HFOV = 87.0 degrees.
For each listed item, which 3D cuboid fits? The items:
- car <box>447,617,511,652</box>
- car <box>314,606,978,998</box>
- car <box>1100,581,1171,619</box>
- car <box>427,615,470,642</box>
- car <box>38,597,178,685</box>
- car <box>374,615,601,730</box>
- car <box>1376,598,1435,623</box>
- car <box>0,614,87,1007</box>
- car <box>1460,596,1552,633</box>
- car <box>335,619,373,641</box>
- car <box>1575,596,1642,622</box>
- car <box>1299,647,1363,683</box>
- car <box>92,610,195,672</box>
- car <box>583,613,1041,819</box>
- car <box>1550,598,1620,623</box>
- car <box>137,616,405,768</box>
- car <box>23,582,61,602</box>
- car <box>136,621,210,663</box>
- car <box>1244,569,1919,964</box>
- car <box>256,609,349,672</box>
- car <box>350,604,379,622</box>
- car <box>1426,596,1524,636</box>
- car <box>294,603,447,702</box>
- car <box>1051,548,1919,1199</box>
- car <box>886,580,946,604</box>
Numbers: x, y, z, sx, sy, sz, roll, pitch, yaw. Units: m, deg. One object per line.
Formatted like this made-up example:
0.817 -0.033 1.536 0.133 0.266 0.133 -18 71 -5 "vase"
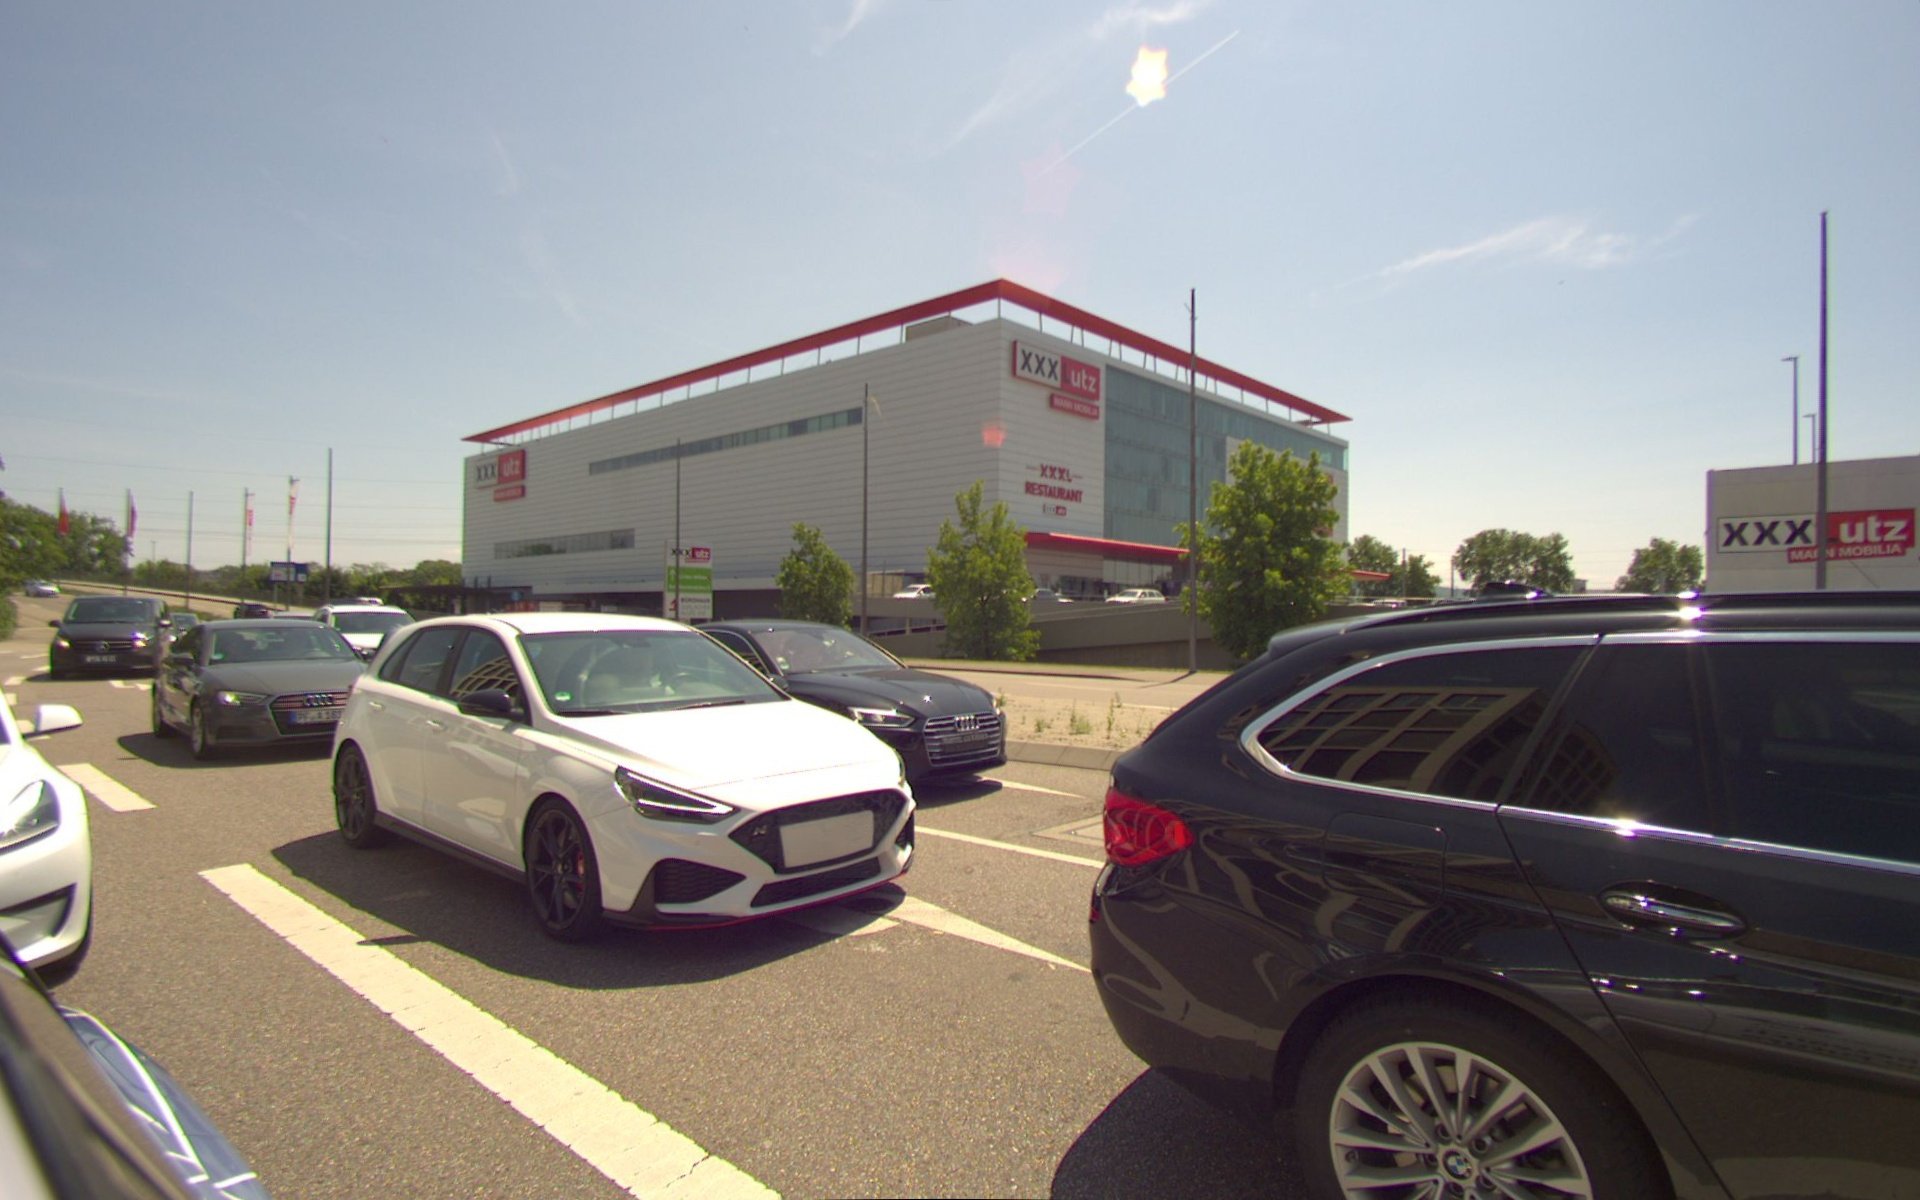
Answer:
-24.661 1.741 51.818 1.840 1.736 4.047 2 -2 -43 "car"
-2.017 0.777 5.784 4.068 1.447 1.769 -1 -1 41 "car"
9.985 0.045 57.494 4.407 2.029 1.680 2 -2 -44 "car"
-37.453 2.097 74.052 1.792 1.918 3.733 2 -2 -43 "car"
-19.671 0.891 23.574 1.865 1.835 4.850 1 -1 -33 "car"
-7.069 0.965 14.895 1.744 1.413 4.435 0 -1 -43 "car"
36.284 0.867 82.443 4.000 1.915 1.972 -1 -2 43 "car"
-5.588 0.807 4.662 4.282 1.447 1.800 -1 0 41 "car"
30.910 0.837 57.339 4.323 2.029 1.975 0 -2 38 "car"
-49.332 2.473 82.361 1.840 1.736 4.047 2 -3 -43 "car"
52.454 0.713 81.914 4.328 2.029 1.972 0 -2 42 "car"
19.045 3.289 51.886 1.997 1.719 3.949 -1 -2 38 "car"
-23.476 1.150 29.238 1.784 1.652 4.011 1 -2 -32 "car"
-1.545 0.872 9.171 4.466 1.415 1.654 -2 -1 42 "car"
45.432 0.747 73.616 4.134 1.754 1.759 0 -2 42 "car"
-7.837 0.897 11.355 1.744 1.393 4.092 2 -2 -45 "car"
-94.464 -0.817 104.118 3.988 1.918 1.978 -1 0 33 "car"
-28.202 1.481 36.359 1.582 1.451 3.744 1 -2 -30 "car"
3.575 0.614 4.723 4.009 1.433 1.674 -2 -1 43 "car"
-16.461 0.970 25.264 1.741 1.433 3.908 -1 -1 -36 "car"
-79.660 1.728 135.379 4.815 2.300 2.162 -1 -2 44 "car"
27.076 0.859 53.257 4.323 2.029 1.974 0 -2 38 "car"
-11.308 0.912 19.274 1.743 1.653 4.498 0 0 -40 "car"
2.527 0.650 1.718 4.553 1.451 1.779 -1 -1 40 "car"
-2.995 -0.527 69.302 3.940 1.519 1.719 2 -2 -44 "car"
